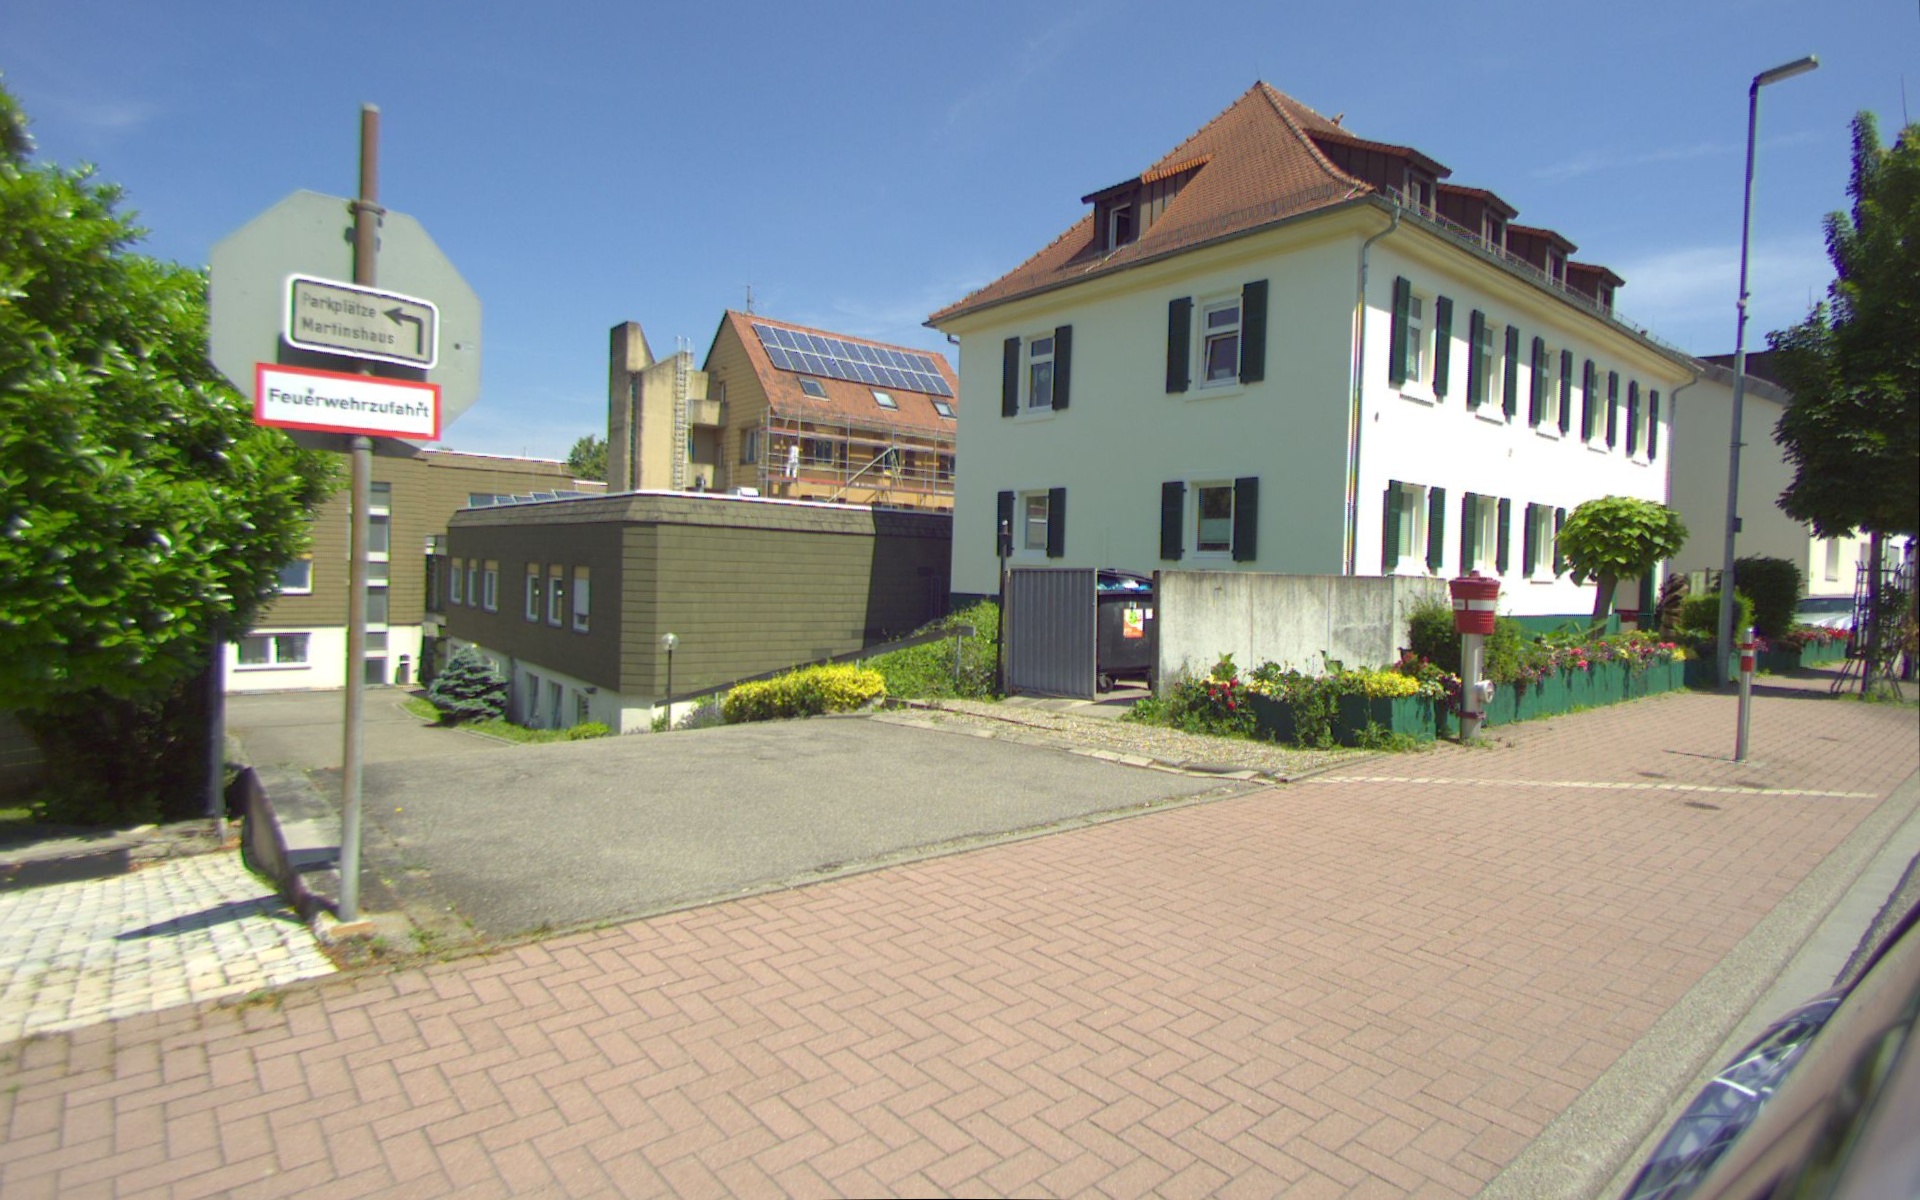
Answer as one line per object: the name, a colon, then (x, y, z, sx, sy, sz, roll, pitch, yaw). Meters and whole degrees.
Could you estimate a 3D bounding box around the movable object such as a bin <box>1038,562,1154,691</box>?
movable object such as a bin: (1.622, 0.301, 12.102, 0.885, 1.449, 1.052, 0, -1, -39)

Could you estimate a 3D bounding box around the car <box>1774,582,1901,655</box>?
car: (20.491, 0.387, 23.578, 4.356, 1.549, 1.509, 0, 0, -39)
